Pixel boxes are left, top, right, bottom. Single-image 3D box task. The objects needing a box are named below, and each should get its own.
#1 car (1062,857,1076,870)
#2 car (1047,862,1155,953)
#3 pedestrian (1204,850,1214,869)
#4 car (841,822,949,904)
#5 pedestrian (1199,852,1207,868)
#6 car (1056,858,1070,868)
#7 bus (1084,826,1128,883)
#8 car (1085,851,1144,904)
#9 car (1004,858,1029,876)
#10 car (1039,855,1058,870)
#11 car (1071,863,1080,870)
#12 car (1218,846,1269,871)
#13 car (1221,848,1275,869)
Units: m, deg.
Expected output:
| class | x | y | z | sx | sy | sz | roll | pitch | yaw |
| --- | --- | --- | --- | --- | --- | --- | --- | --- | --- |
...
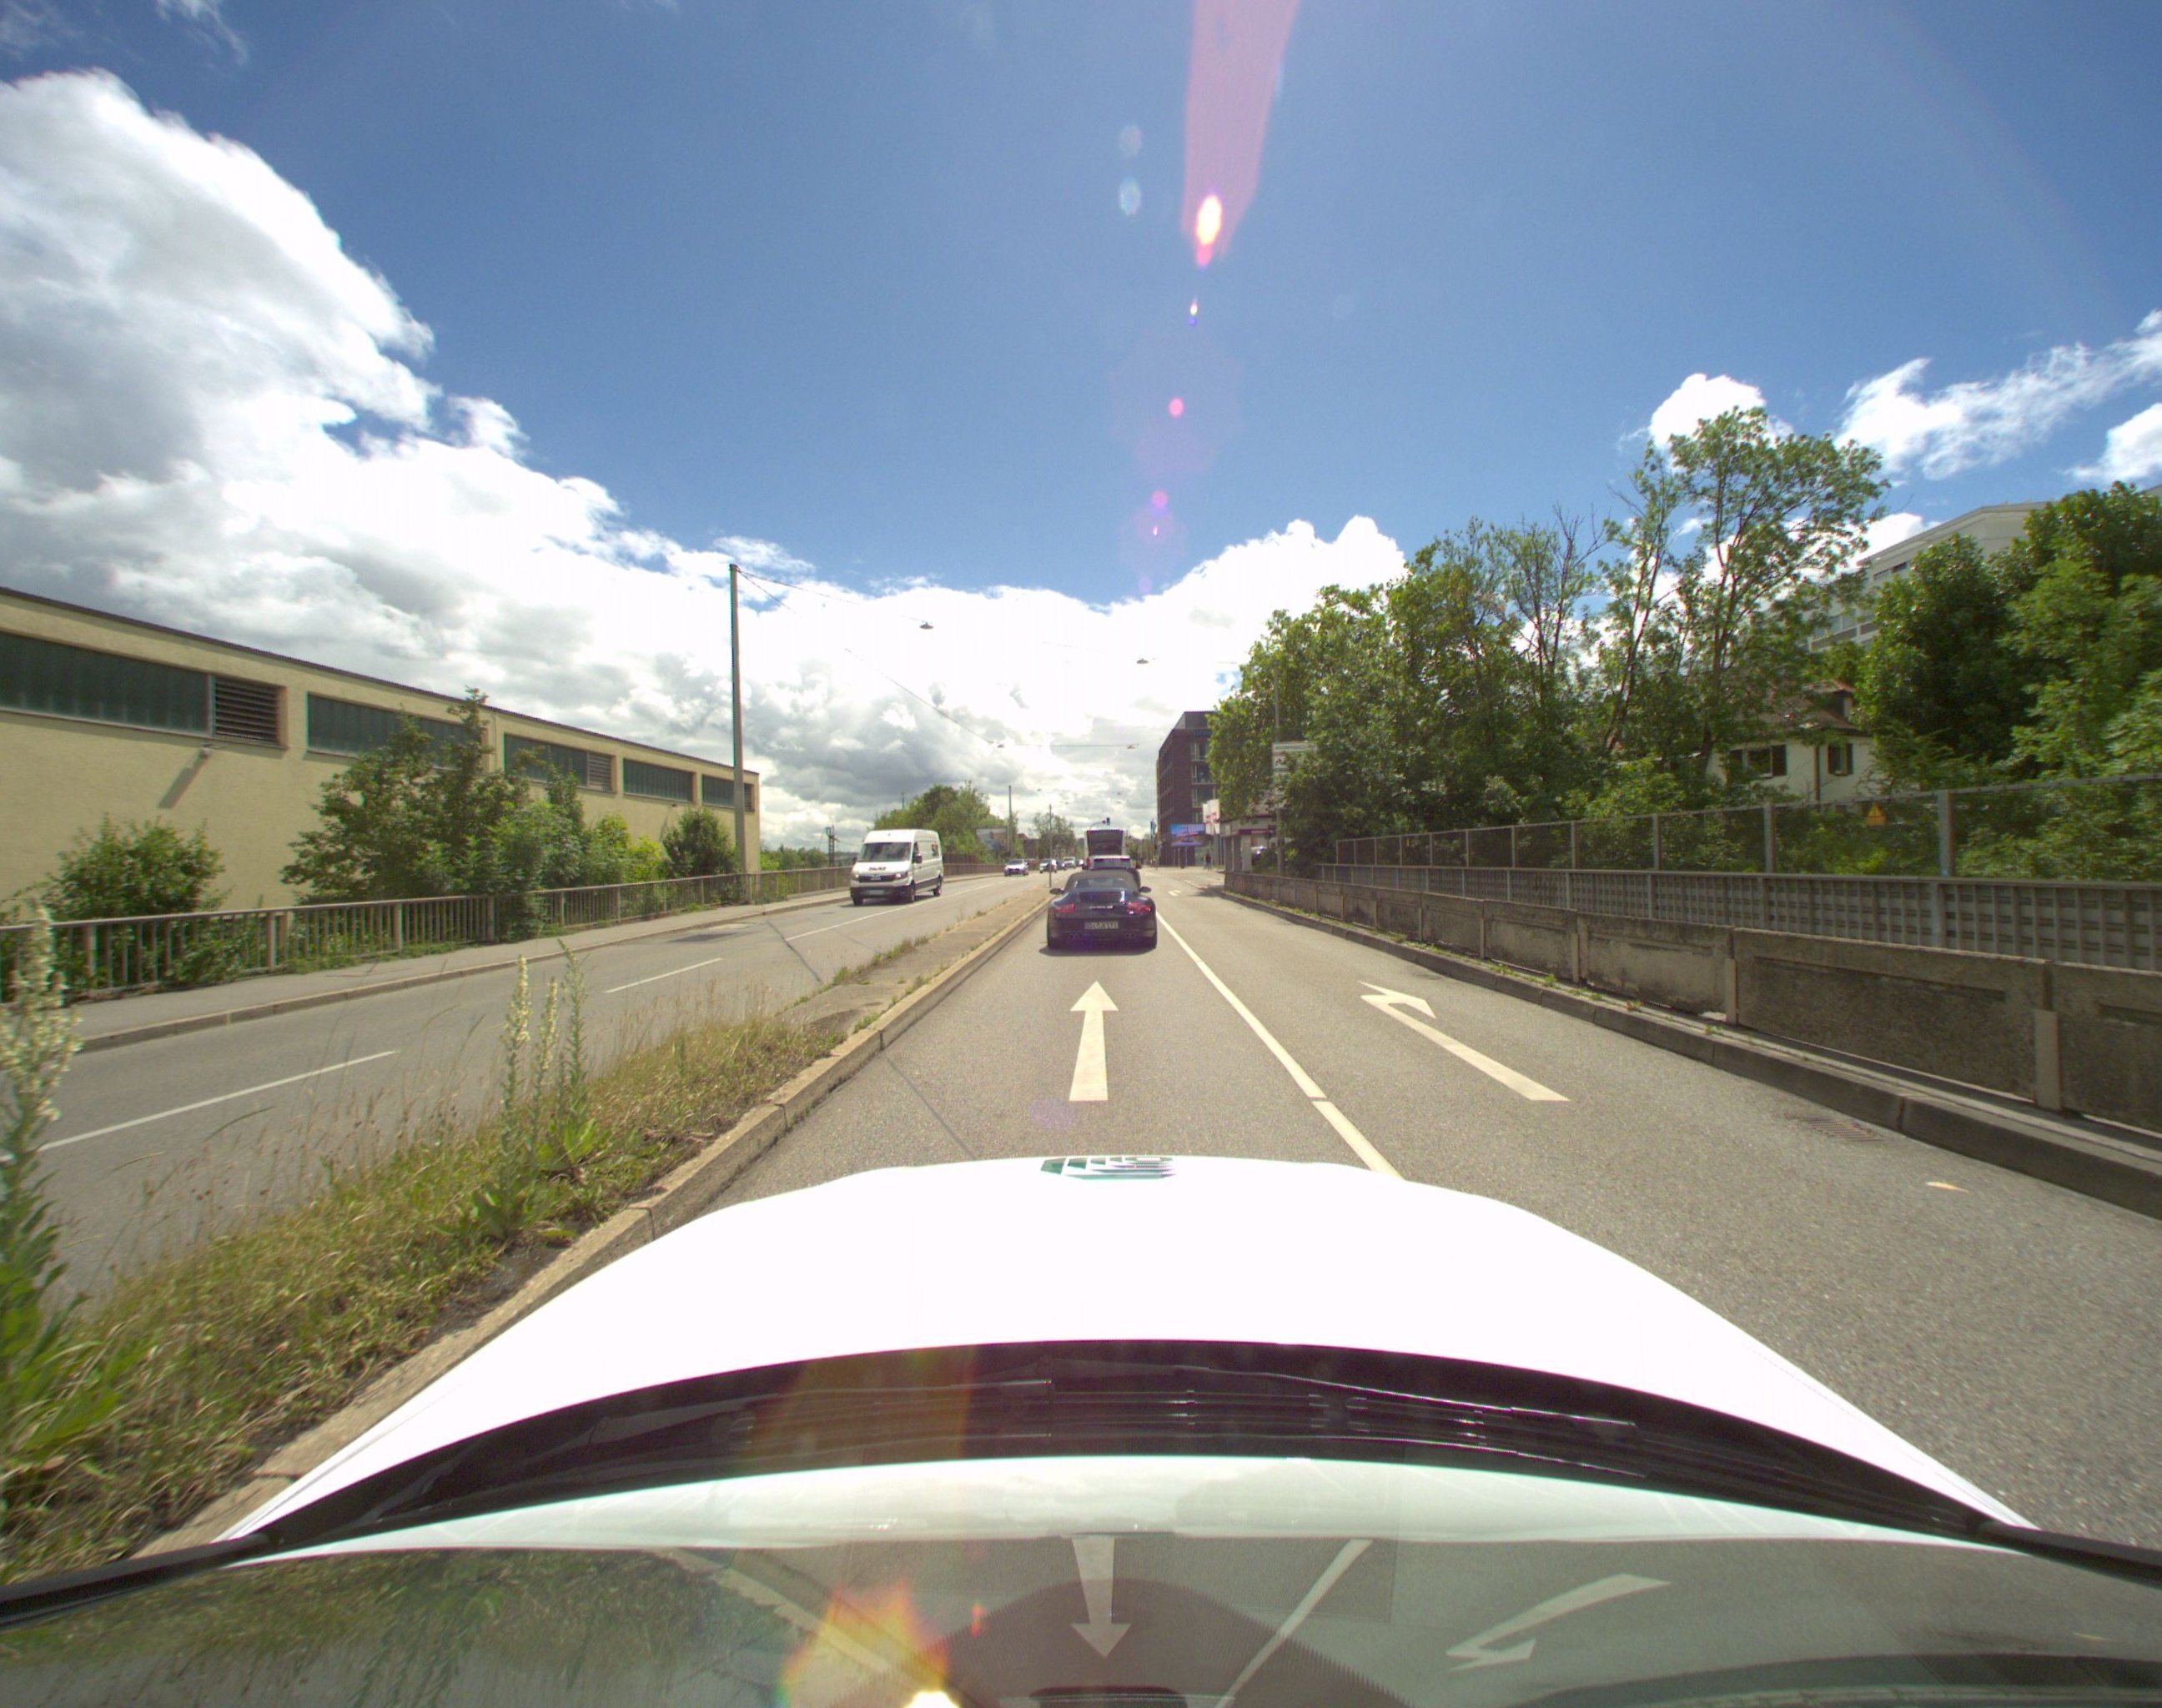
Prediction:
| class | x | y | z | sx | sy | sz | roll | pitch | yaw |
| --- | --- | --- | --- | --- | --- | --- | --- | --- | --- |
| car | -1.981 | 1.505 | 132.427 | 1.894 | 1.887 | 5.315 | -3 | -1 | 2 |
| car | 0.324 | 0.876 | 15.001 | 1.714 | 1.275 | 4.088 | 0 | 2 | 0 |
| pedestrian | 11.827 | 0.528 | 75.332 | 0.673 | 1.696 | 0.602 | -1 | -1 | 27 |
| car | -6.584 | 0.293 | 29.789 | 2.059 | 2.571 | 6.824 | -2 | 0 | 2 |
| pedestrian | 13.443 | 0.685 | 89.580 | 0.705 | 1.696 | 0.924 | -1 | -1 | -1 |
| car | -2.509 | 1.243 | 113.174 | 1.622 | 1.430 | 4.001 | -1 | -1 | 2 |
| bus | 1.812 | -0.185 | 55.255 | 2.678 | 3.254 | 12.069 | 0 | 3 | 3 |
| car | 1.124 | 0.740 | 28.282 | 1.873 | 1.594 | 4.231 | 0 | 2 | 1 |
| car | -5.486 | 1.087 | 69.585 | 1.631 | 1.363 | 4.196 | -2 | 0 | 2 |
| car | -3.475 | 0.877 | 86.999 | 1.803 | 1.560 | 4.208 | 0 | 0 | 1 |
| car | -1.066 | 2.450 | 164.367 | 1.656 | 1.416 | 3.805 | -1 | -1 | 2 |
| car | 14.640 | 0.437 | 73.635 | 4.213 | 1.936 | 2.031 | -4 | -1 | 2 |
| car | 14.398 | 0.371 | 70.501 | 4.284 | 1.513 | 1.847 | -4 | -2 | 2 |
